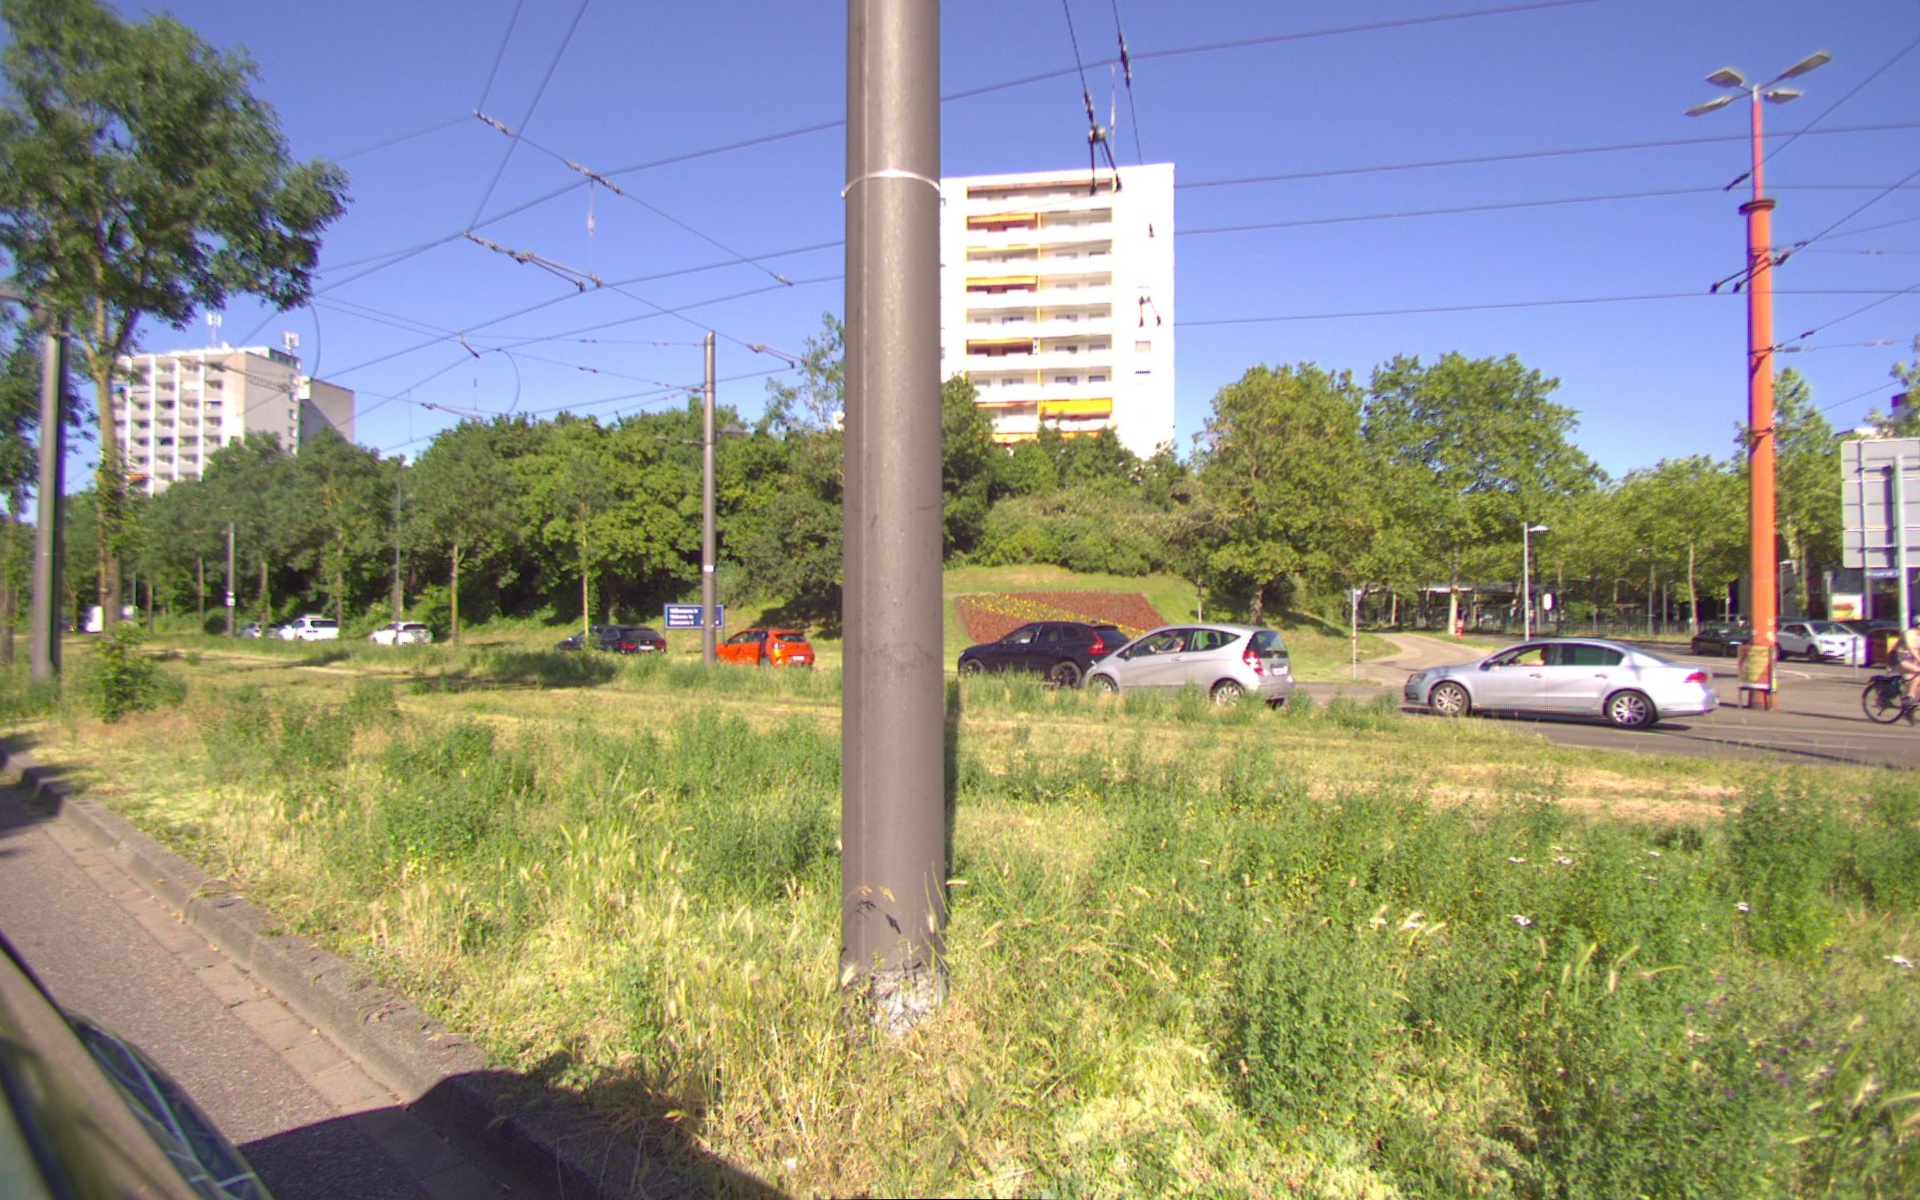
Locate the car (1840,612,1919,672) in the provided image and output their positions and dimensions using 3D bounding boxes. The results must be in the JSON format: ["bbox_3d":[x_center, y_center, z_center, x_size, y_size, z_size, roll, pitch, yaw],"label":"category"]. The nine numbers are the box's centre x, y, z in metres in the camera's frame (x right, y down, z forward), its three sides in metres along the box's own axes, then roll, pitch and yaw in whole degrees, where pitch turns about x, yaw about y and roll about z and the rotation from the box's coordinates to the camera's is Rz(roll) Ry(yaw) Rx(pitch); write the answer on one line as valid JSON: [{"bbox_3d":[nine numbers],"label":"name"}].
[{"bbox_3d":[32.244,1.380,34.060,1.978,1.915,4.261,-1,0,10],"label":"car"}]

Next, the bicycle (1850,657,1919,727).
[{"bbox_3d":[16.111,1.548,16.783,0.467,1.089,2.363,0,0,-4],"label":"bicycle"}]

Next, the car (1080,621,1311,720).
[{"bbox_3d":[4.247,1.205,18.537,3.757,1.620,1.744,-1,-2,42],"label":"car"}]

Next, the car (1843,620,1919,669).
[{"bbox_3d":[36.986,1.695,39.550,1.892,1.763,3.987,-1,0,10],"label":"car"}]

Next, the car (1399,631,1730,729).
[{"bbox_3d":[10.398,1.285,17.632,4.691,1.443,1.973,-1,-2,41],"label":"car"}]

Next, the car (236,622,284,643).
[{"bbox_3d":[-45.555,2.095,65.816,4.000,1.302,1.778,-1,-1,43],"label":"car"}]

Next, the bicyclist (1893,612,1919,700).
[{"bbox_3d":[16.126,0.920,16.691,0.741,1.441,0.758,0,-1,-4],"label":"bicyclist"}]

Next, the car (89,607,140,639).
[{"bbox_3d":[-64.658,1.742,77.350,6.877,2.387,2.018,-1,-1,41],"label":"car"}]

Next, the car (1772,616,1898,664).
[{"bbox_3d":[34.062,1.523,39.558,1.892,1.763,3.987,-1,0,10],"label":"car"}]

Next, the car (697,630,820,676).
[{"bbox_3d":[-6.424,1.624,32.009,4.176,1.307,1.640,-1,-1,42],"label":"car"}]

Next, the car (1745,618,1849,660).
[{"bbox_3d":[37.939,1.733,46.022,1.892,1.763,3.987,-1,0,10],"label":"car"}]

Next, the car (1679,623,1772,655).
[{"bbox_3d":[35.052,1.784,46.470,1.717,1.332,3.987,-1,0,10],"label":"car"}]

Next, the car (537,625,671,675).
[{"bbox_3d":[-11.496,1.547,32.480,4.990,1.420,1.972,-1,-1,43],"label":"car"}]

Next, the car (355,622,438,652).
[{"bbox_3d":[-28.716,1.852,51.577,4.531,1.408,1.883,-1,-1,34],"label":"car"}]

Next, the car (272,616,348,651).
[{"bbox_3d":[-32.425,1.651,50.439,4.652,1.634,1.876,-1,-1,40],"label":"car"}]

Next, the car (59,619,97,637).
[{"bbox_3d":[-81.436,2.553,93.462,5.270,1.596,1.973,-1,-1,41],"label":"car"}]

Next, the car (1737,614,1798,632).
[{"bbox_3d":[73.855,2.111,92.585,1.864,1.608,4.010,0,-1,-35],"label":"car"}]

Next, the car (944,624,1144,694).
[{"bbox_3d":[1.976,1.360,24.713,4.629,1.492,1.973,-1,-1,41],"label":"car"}]
